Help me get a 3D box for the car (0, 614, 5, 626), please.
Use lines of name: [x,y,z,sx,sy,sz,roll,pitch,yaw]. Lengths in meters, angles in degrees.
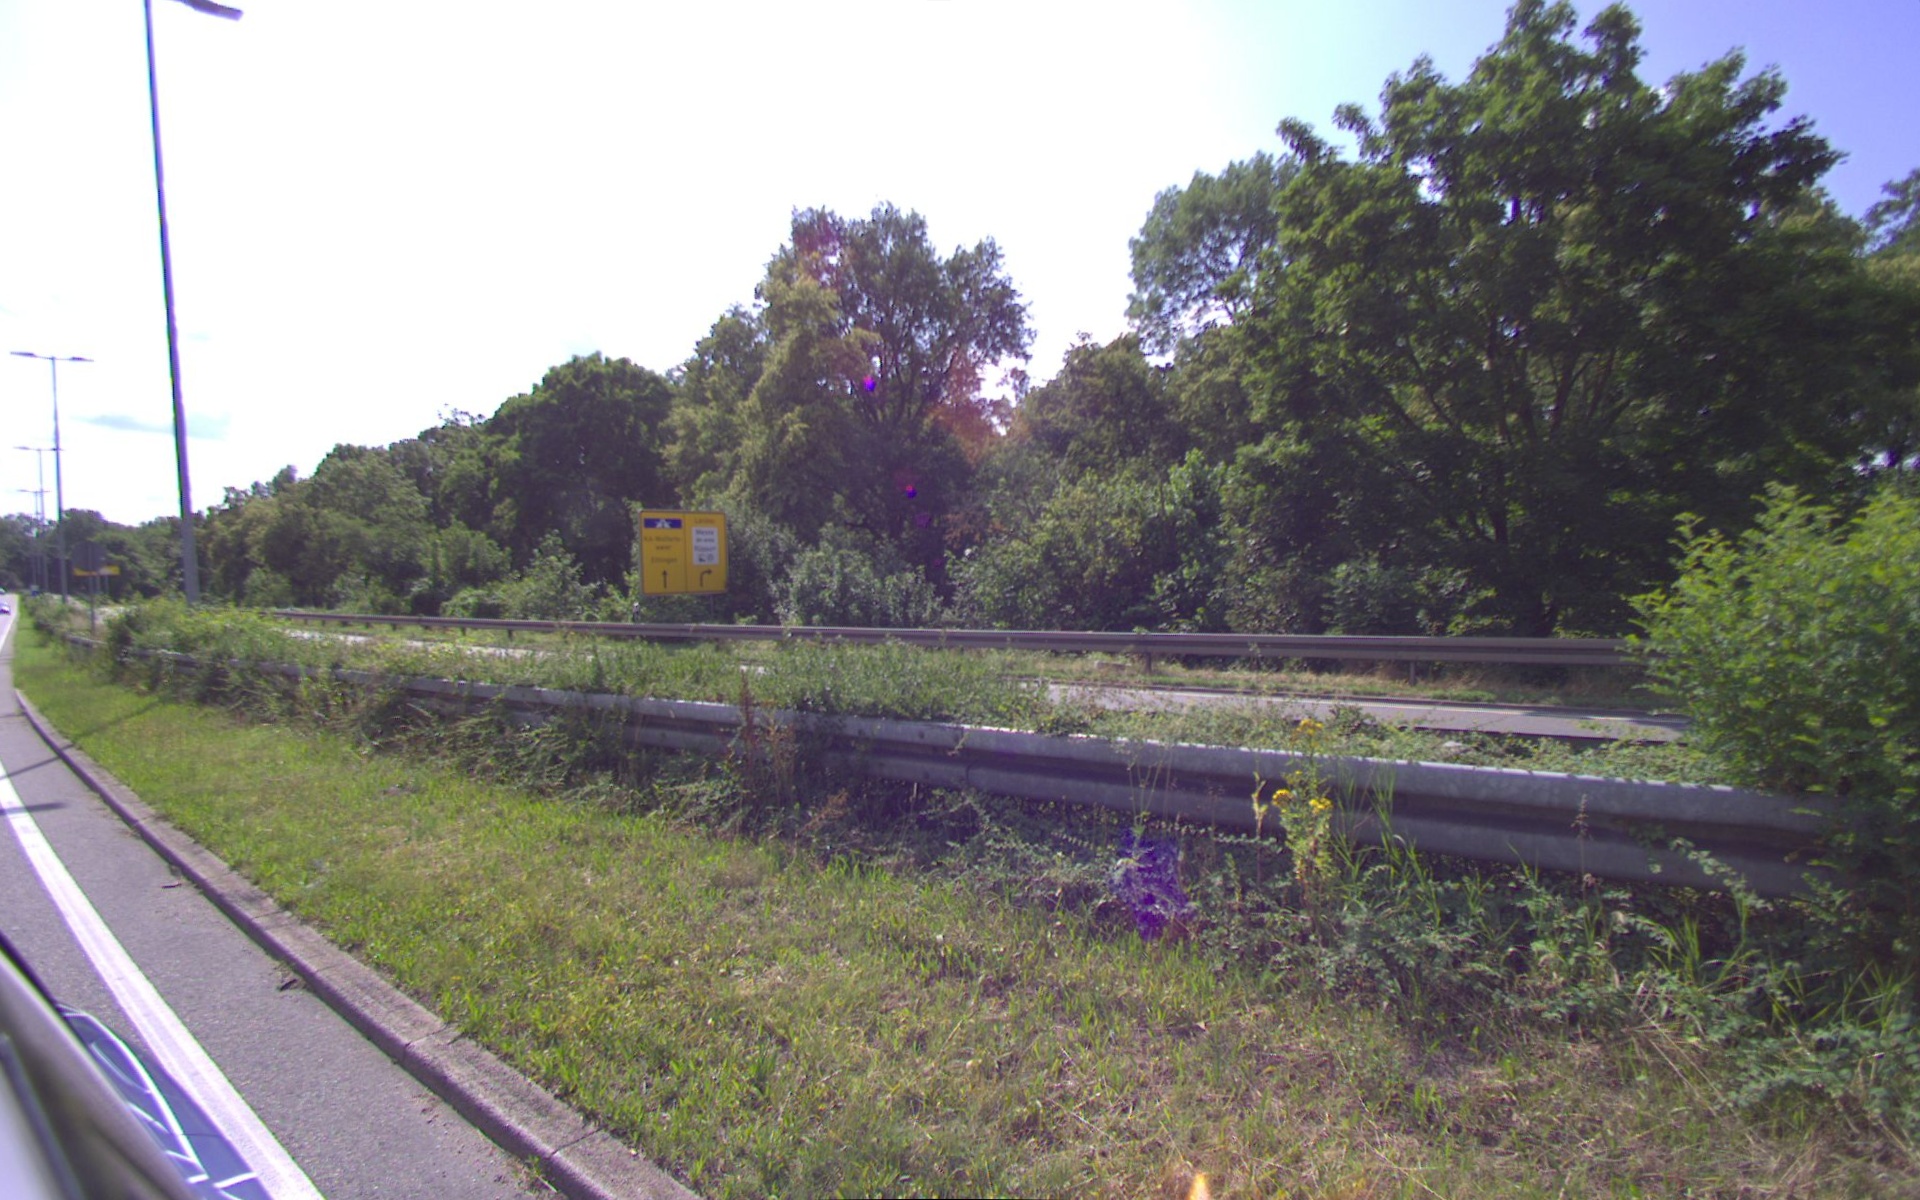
car: [-110.549,2.354,115.757,1.771,1.386,4.004,-2,0,-42]
